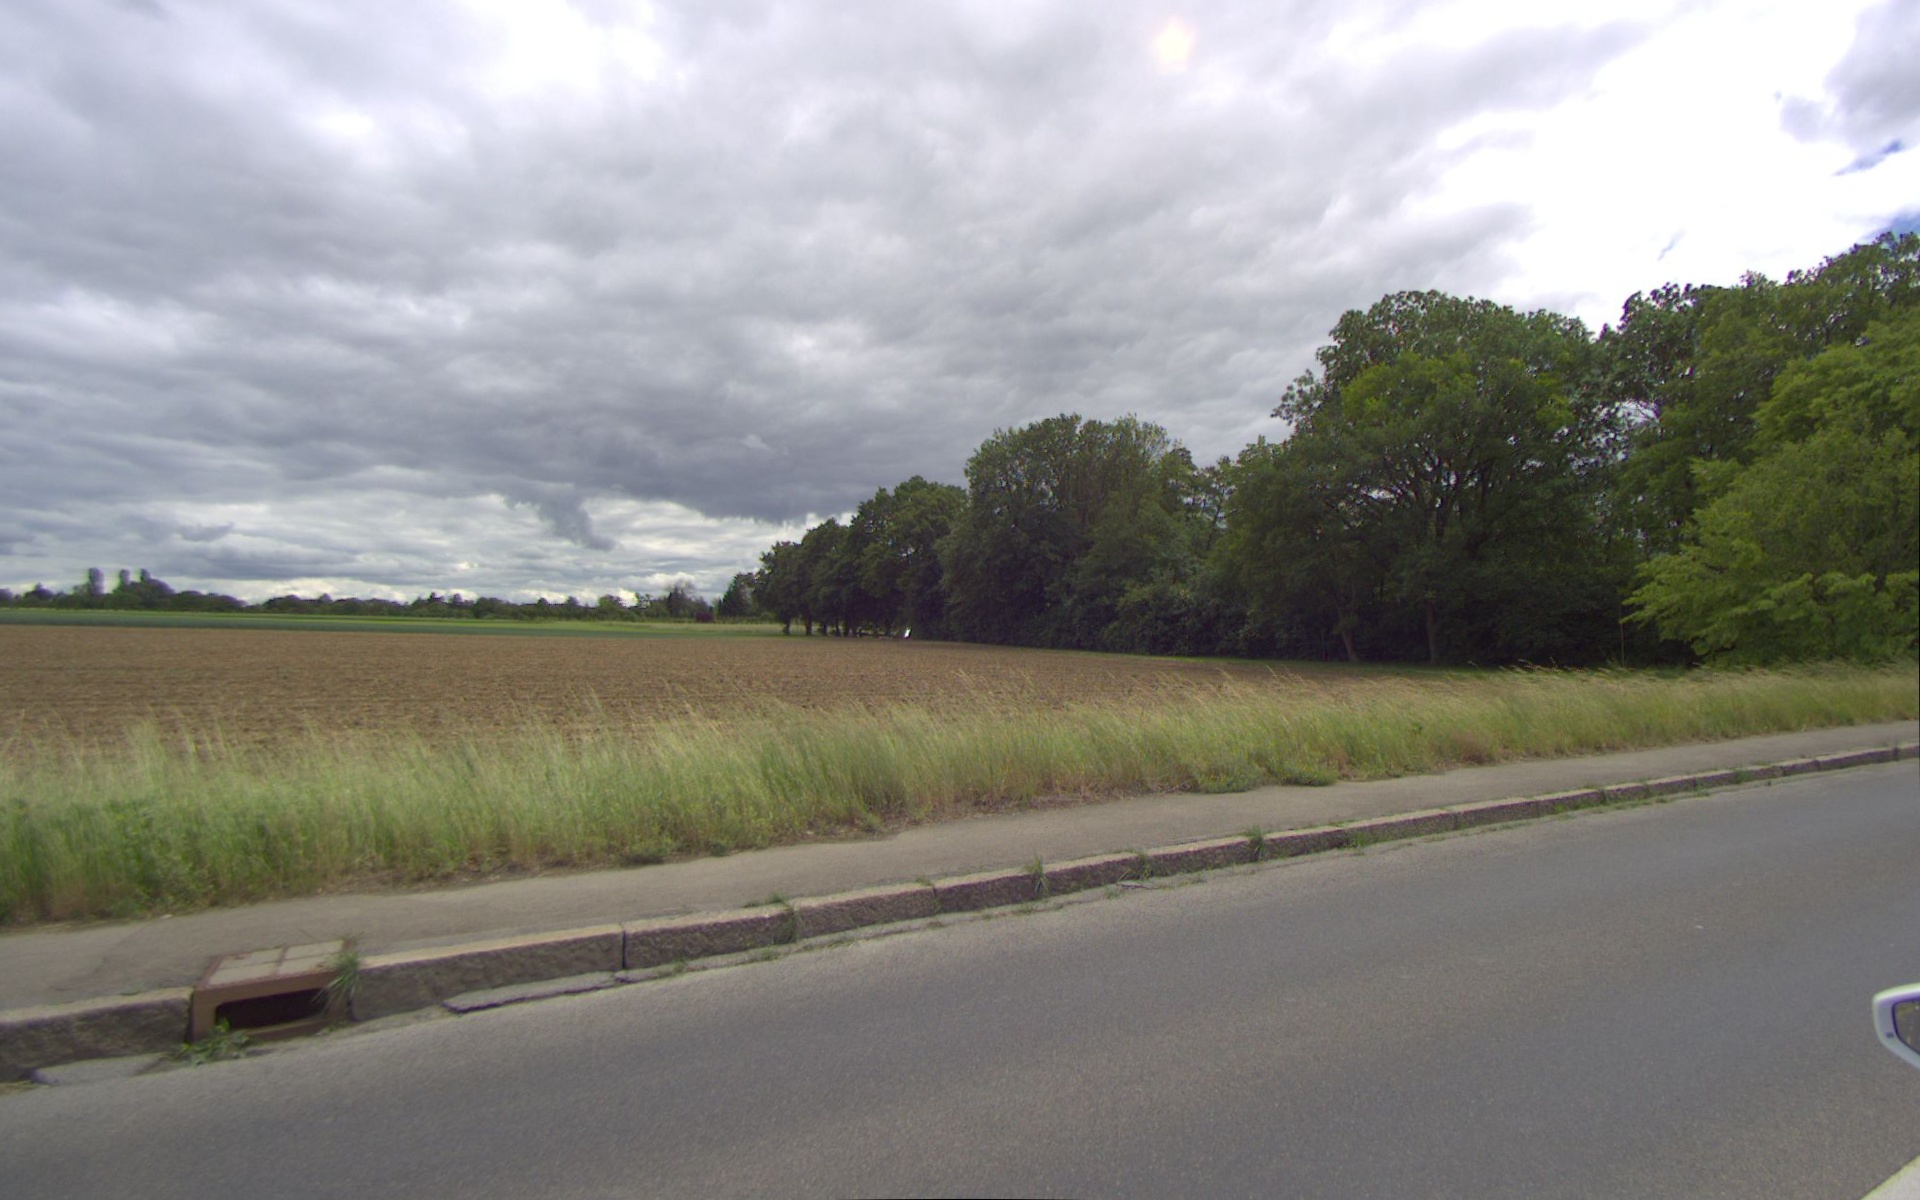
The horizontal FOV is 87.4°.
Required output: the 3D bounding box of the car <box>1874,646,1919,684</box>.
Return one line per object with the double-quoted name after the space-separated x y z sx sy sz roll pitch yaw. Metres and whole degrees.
34.441 2.230 34.643 1.723 1.316 3.972 1 -4 -28 "car"
